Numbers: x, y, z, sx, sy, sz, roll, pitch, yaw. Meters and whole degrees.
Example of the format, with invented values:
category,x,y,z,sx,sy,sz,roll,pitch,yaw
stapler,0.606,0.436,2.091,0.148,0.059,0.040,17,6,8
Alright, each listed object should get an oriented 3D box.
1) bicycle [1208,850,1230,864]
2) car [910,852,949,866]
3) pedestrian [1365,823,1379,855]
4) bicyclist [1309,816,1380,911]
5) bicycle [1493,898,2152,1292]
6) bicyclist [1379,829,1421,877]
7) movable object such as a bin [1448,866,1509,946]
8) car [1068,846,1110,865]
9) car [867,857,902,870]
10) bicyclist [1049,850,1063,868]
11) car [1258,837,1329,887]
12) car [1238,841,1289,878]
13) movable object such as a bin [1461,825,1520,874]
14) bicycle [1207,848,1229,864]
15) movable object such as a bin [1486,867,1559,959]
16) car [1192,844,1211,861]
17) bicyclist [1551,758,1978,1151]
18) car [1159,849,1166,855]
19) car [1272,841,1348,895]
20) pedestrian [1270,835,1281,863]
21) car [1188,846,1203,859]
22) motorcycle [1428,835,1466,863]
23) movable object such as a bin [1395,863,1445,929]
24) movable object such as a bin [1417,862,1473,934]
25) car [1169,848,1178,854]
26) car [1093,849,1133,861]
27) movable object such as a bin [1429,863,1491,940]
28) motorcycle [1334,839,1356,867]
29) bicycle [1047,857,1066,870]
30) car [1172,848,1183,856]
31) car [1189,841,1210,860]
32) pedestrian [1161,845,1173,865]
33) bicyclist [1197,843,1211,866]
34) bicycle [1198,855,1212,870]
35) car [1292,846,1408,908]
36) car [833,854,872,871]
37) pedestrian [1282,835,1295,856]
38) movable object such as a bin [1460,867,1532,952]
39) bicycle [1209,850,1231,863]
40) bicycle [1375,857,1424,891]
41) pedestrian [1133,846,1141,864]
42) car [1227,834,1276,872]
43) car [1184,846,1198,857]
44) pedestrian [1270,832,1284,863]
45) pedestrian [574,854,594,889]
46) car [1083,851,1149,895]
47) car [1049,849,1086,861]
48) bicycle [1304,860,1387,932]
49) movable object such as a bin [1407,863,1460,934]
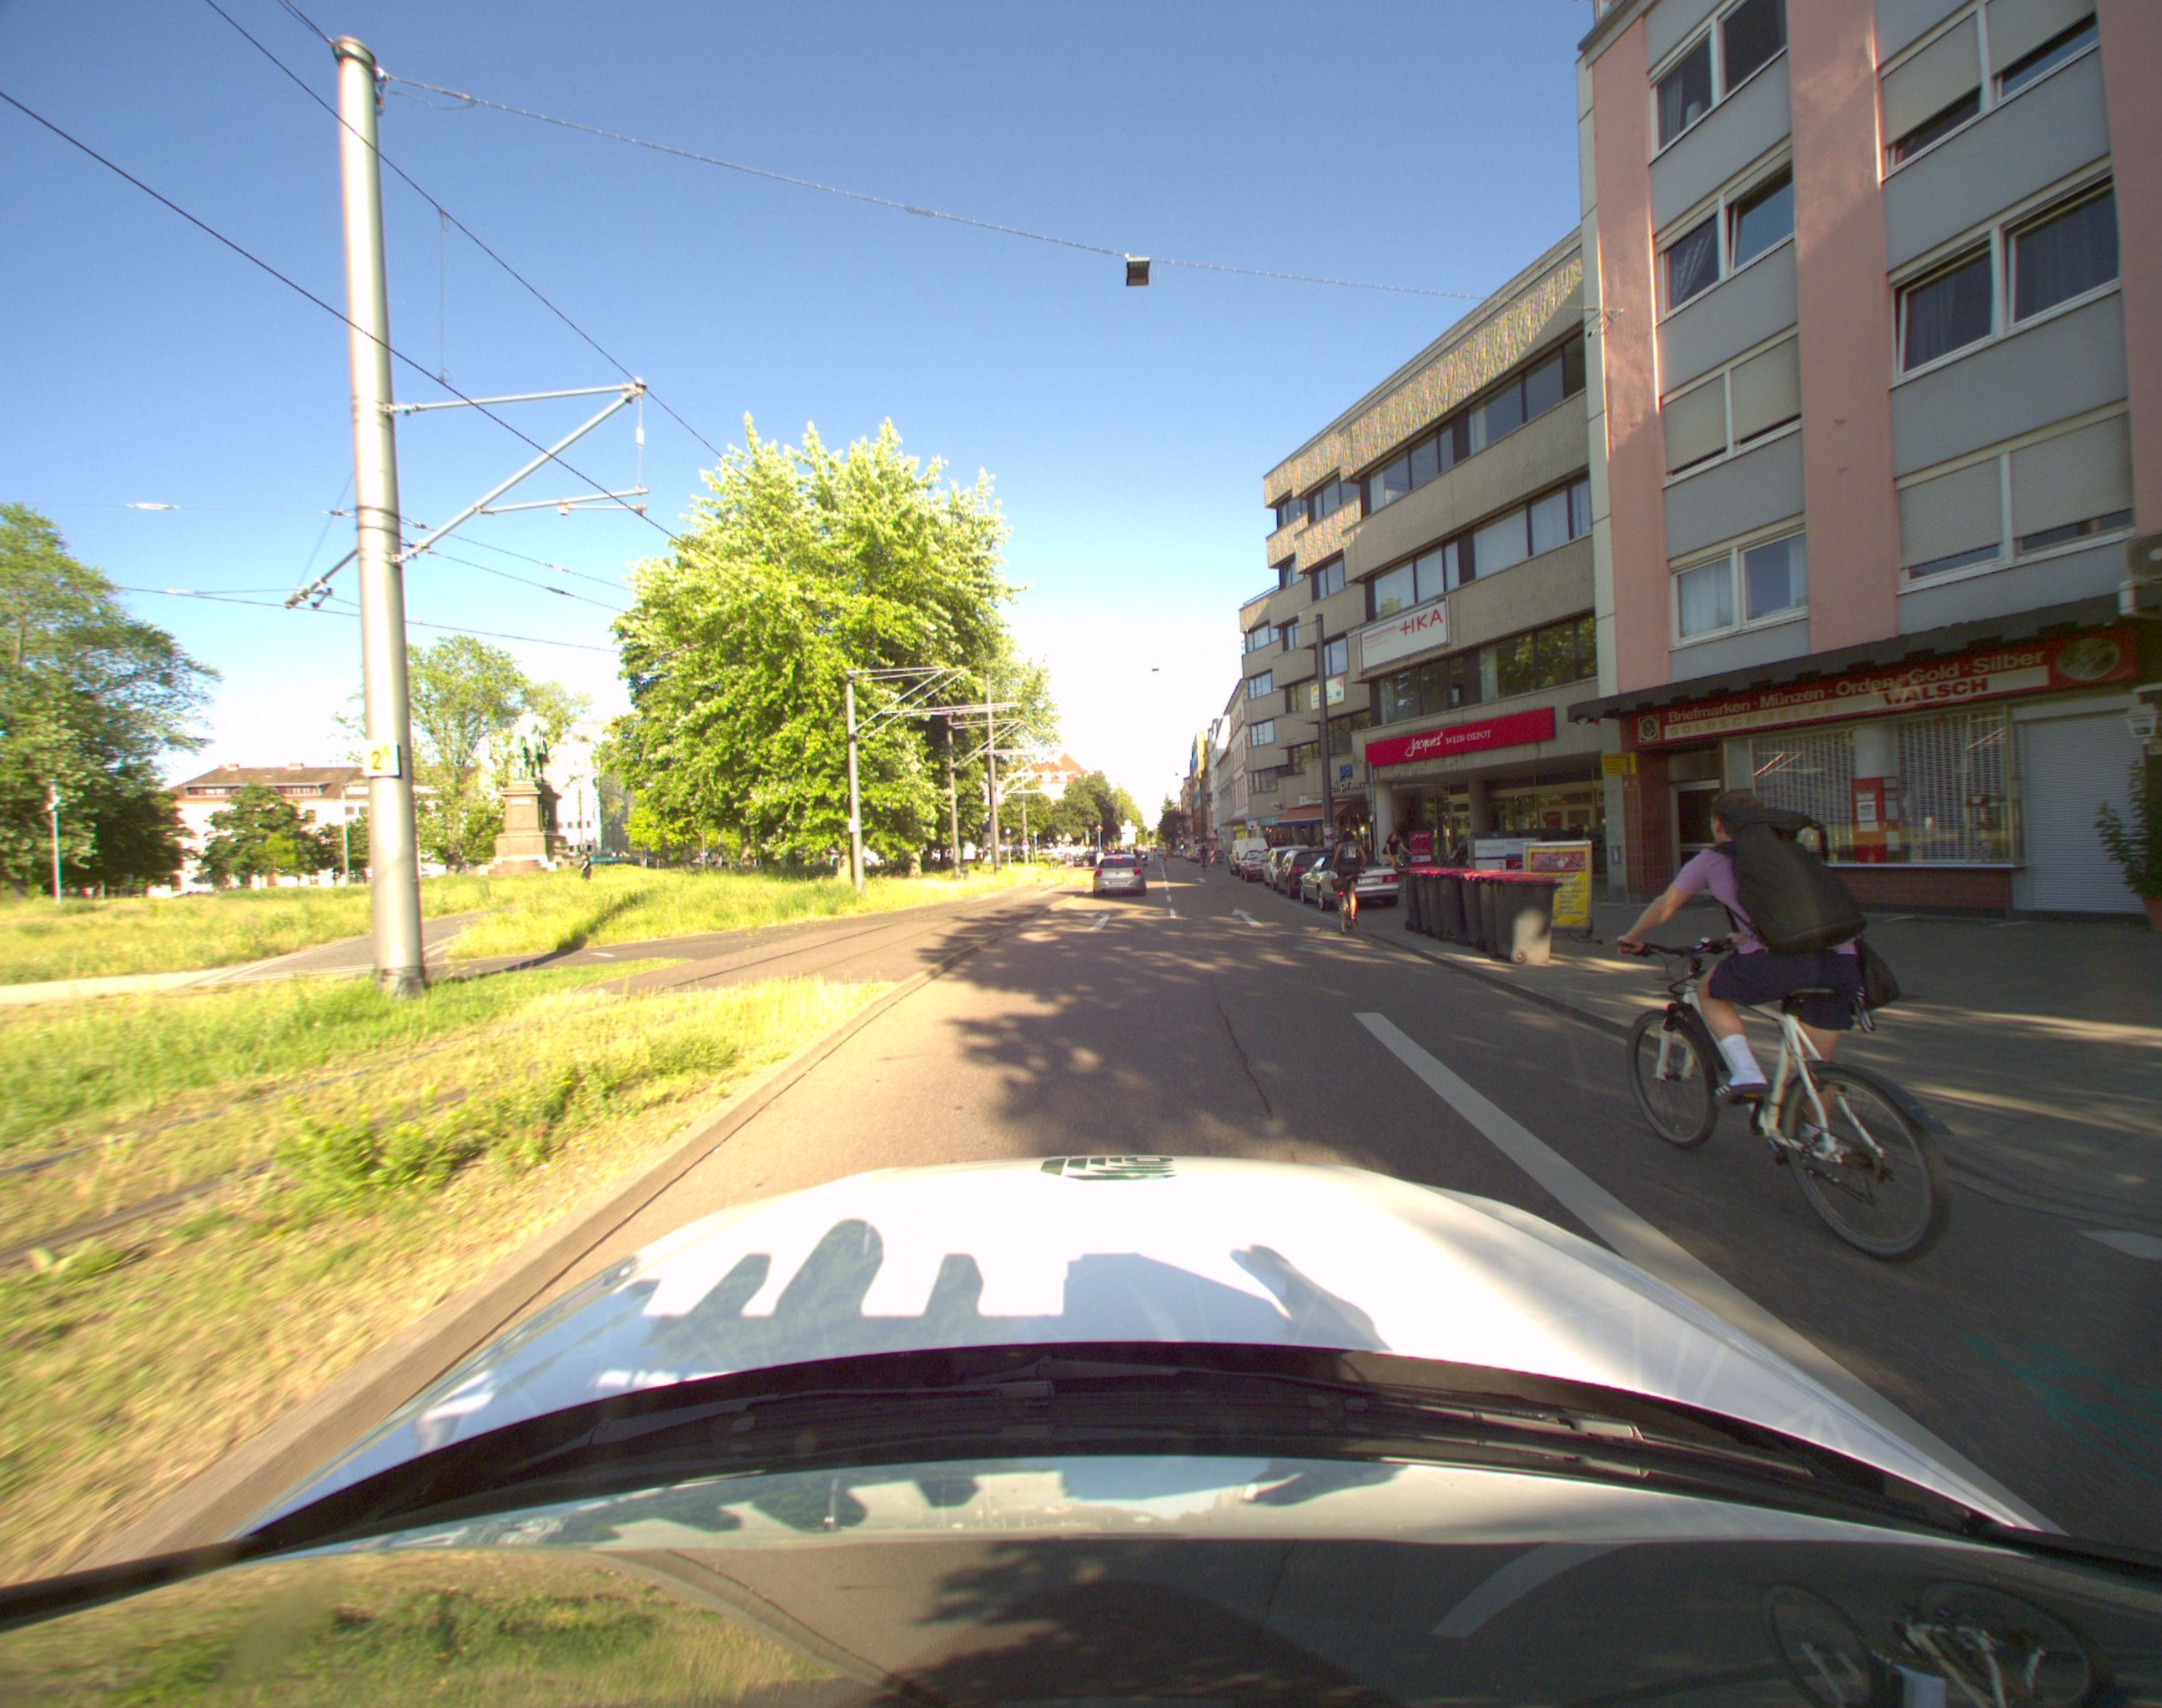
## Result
category,x,y,z,sx,sy,sz,roll,pitch,yaw
bicycle,10.919,0.261,64.496,1.665,1.062,0.345,-1,-1,21
car,-23.135,0.724,124.275,5.597,2.014,1.804,-1,-1,-22
pedestrian,16.594,-0.855,46.426,0.697,1.816,0.720,-1,-1,20
bicyclist,4.740,0.172,14.631,0.930,1.633,0.941,-2,-1,37
bicycle,2.943,0.819,3.716,0.883,1.136,2.226,-1,-1,-3
bicyclist,8.981,-0.025,22.973,0.756,1.326,0.994,-1,-1,-1
movable object such as a bin,5.471,0.704,11.236,0.589,1.069,0.496,-1,-1,1
car,0.798,0.157,79.816,3.890,1.682,1.791,-2,-1,-38
car,-29.461,1.464,122.082,4.868,1.804,1.898,-1,-1,-17
bicyclist,-2.174,0.427,71.013,0.932,1.507,0.819,-1,-1,-22
car,7.627,0.294,29.520,1.842,1.689,3.872,-1,-1,5
car,7.966,0.258,35.867,1.764,1.454,4.740,-1,-1,7
movable object such as a bin,12.327,-0.123,24.581,1.327,1.397,1.125,-1,-1,12
bicycle,11.135,0.184,66.316,1.606,1.243,0.663,-1,-1,25
movable object such as a bin,5.391,0.711,9.976,0.571,1.082,0.570,-1,-1,2
car,12.632,-0.126,85.601,1.737,1.739,4.967,-1,-1,5
bicyclist,2.923,0.381,3.629,1.035,1.484,0.987,-1,-1,-4
car,20.927,-0.504,208.566,1.861,1.556,4.006,-1,-1,6
car,7.036,0.440,25.385,1.662,1.518,4.208,-1,-1,8
pedestrian,12.256,-0.310,51.399,0.580,1.714,0.699,-1,-1,8
car,14.817,-0.174,105.403,1.710,1.515,3.587,-5,-1,5
motorcycle,15.690,-0.236,34.951,0.510,1.168,2.097,-1,1,-6
movable object such as a bin,5.676,0.695,13.661,0.590,1.083,0.605,-1,-1,2
movable object such as a bin,5.575,0.669,12.503,0.602,1.069,0.545,-1,-1,1
car,22.683,-0.682,200.067,1.984,1.453,4.005,-2,0,5
car,4.100,0.144,104.433,4.849,1.488,1.754,-1,-1,-19
movable object such as a bin,5.486,0.678,11.825,0.604,1.069,0.613,-1,-1,1
motorcycle,12.073,-0.032,37.285,0.758,1.155,2.055,-5,-2,15
bicycle,-2.118,0.825,70.882,0.813,1.069,2.564,-1,-1,-22
car,19.900,-0.402,167.805,1.982,1.618,4.018,-1,-1,8
car,13.961,-0.422,95.952,1.985,2.004,5.123,-2,0,4
pedestrian,7.493,0.097,71.240,0.671,1.699,0.798,-1,-1,-25
bicyclist,7.835,0.047,51.884,0.783,1.453,1.097,-1,-1,4
bicycle,7.851,0.545,51.831,0.649,0.958,2.701,-1,-1,4
car,6.644,0.548,20.624,1.842,1.344,4.607,-1,-1,6
car,-32.442,1.246,115.578,5.351,2.314,1.988,-1,-1,-18
pedestrian,12.858,-0.517,50.486,0.626,1.236,0.626,-4,-2,8
movable object such as a bin,5.423,0.718,10.673,0.617,1.069,0.610,-1,-1,2
bicycle,11.068,0.226,64.852,1.689,1.004,0.430,-1,-1,21
bicycle,8.953,0.553,23.003,0.532,0.891,2.069,-1,-1,-1
pedestrian,5.080,0.105,73.762,0.633,1.672,0.694,-1,-1,6
car,8.787,-0.026,42.338,1.984,1.813,4.315,-1,-1,5
car,17.076,-0.363,126.487,1.890,1.675,4.831,-1,-1,5
pedestrian,12.187,-0.391,50.586,0.667,1.856,0.612,-5,-2,8
pedestrian,-23.452,0.807,38.422,0.548,1.616,0.679,-2,-1,43
car,1.320,0.652,28.768,1.983,1.423,4.204,-1,-1,7
car,-2.109,0.116,126.712,5.284,1.800,2.148,-1,-1,-22
bicycle,4.781,0.716,14.647,0.811,1.185,1.977,-2,-1,36
movable object such as a bin,5.642,0.698,13.068,0.608,1.105,0.526,-1,-1,1
